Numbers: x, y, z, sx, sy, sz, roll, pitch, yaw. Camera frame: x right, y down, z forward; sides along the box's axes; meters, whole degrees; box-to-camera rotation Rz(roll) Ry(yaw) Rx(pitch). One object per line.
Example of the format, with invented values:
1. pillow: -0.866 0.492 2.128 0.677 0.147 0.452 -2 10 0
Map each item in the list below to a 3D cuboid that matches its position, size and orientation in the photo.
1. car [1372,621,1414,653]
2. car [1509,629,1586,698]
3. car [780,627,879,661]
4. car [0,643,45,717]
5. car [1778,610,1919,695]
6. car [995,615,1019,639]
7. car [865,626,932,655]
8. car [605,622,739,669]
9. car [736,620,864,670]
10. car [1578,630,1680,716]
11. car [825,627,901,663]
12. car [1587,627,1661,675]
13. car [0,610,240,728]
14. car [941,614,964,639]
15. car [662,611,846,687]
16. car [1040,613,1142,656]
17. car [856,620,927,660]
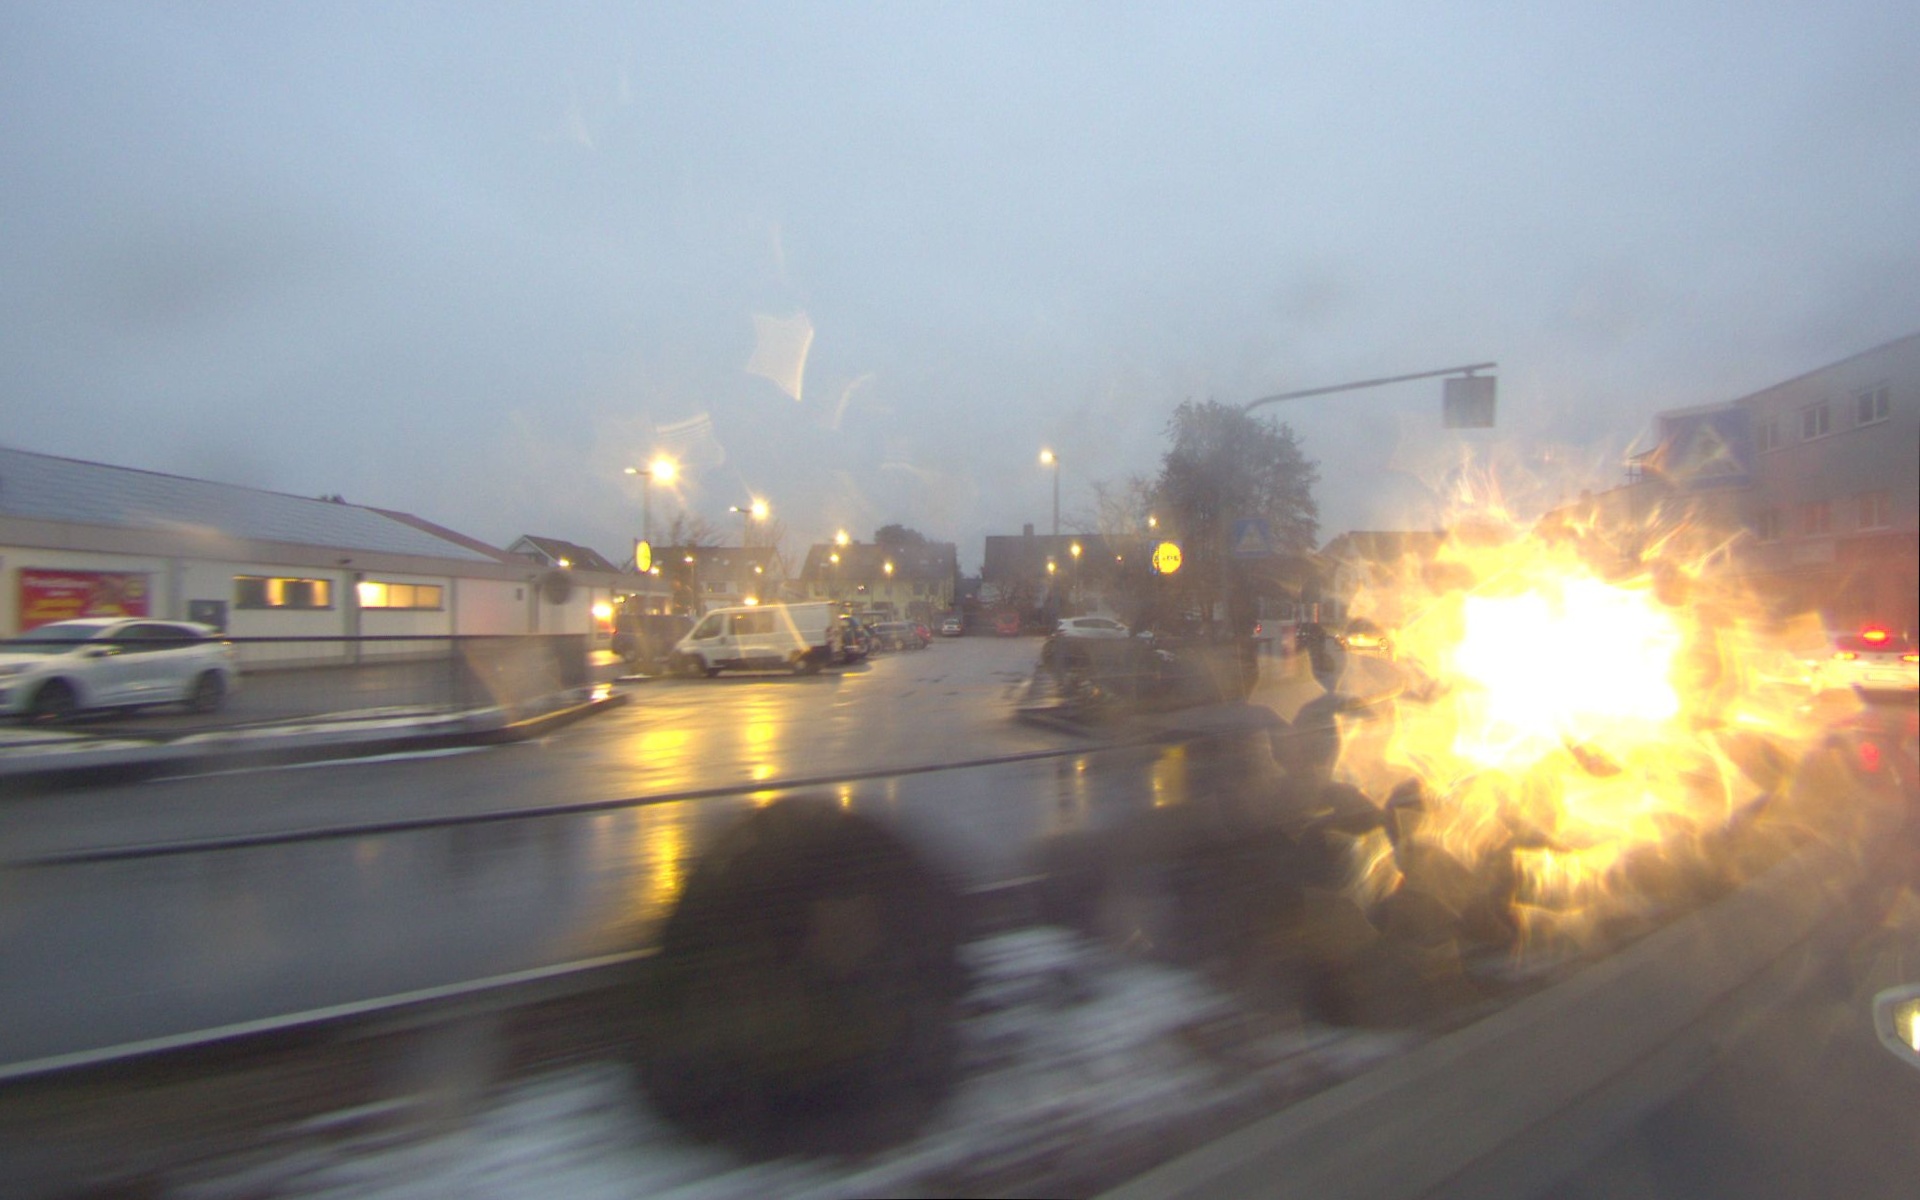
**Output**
1. car: 26.621 2.245 61.853 2.029 1.858 4.571 0 -1 19
2. car: 20.151 2.081 34.376 2.133 2.087 4.560 -1 -1 32
3. car: -6.108 2.065 47.433 4.373 1.421 1.727 1 1 3
4. car: -19.006 1.499 17.739 1.804 1.329 4.002 2 0 6
5. car: 20.267 1.094 22.778 2.133 1.712 4.559 0 0 33
6. car: 4.067 2.360 87.533 1.673 1.942 3.998 1 0 -3
7. car: -3.596 2.367 59.437 3.715 1.567 1.735 1 1 4
8. car: -11.856 1.838 41.456 4.949 1.688 1.797 2 0 8
9. car: -5.957 1.664 37.771 4.419 1.646 1.846 2 0 2
10. car: 18.644 1.946 28.202 2.132 2.087 4.561 0 -1 31
11. car: -5.068 2.336 52.802 3.715 1.712 1.735 1 1 4
12. car: 26.978 2.030 40.950 2.032 1.740 4.565 0 -1 27
13. car: -14.332 0.998 16.240 2.023 1.582 4.283 2 0 6
14. car: -0.697 2.347 89.256 1.835 2.040 3.998 1 0 -3
15. car: -6.432 1.508 31.823 5.315 2.162 2.034 2 0 2
16. car: 5.582 1.455 42.946 4.267 1.771 1.707 0 0 7
17. car: -3.779 2.198 55.938 3.715 2.040 1.735 1 1 4
